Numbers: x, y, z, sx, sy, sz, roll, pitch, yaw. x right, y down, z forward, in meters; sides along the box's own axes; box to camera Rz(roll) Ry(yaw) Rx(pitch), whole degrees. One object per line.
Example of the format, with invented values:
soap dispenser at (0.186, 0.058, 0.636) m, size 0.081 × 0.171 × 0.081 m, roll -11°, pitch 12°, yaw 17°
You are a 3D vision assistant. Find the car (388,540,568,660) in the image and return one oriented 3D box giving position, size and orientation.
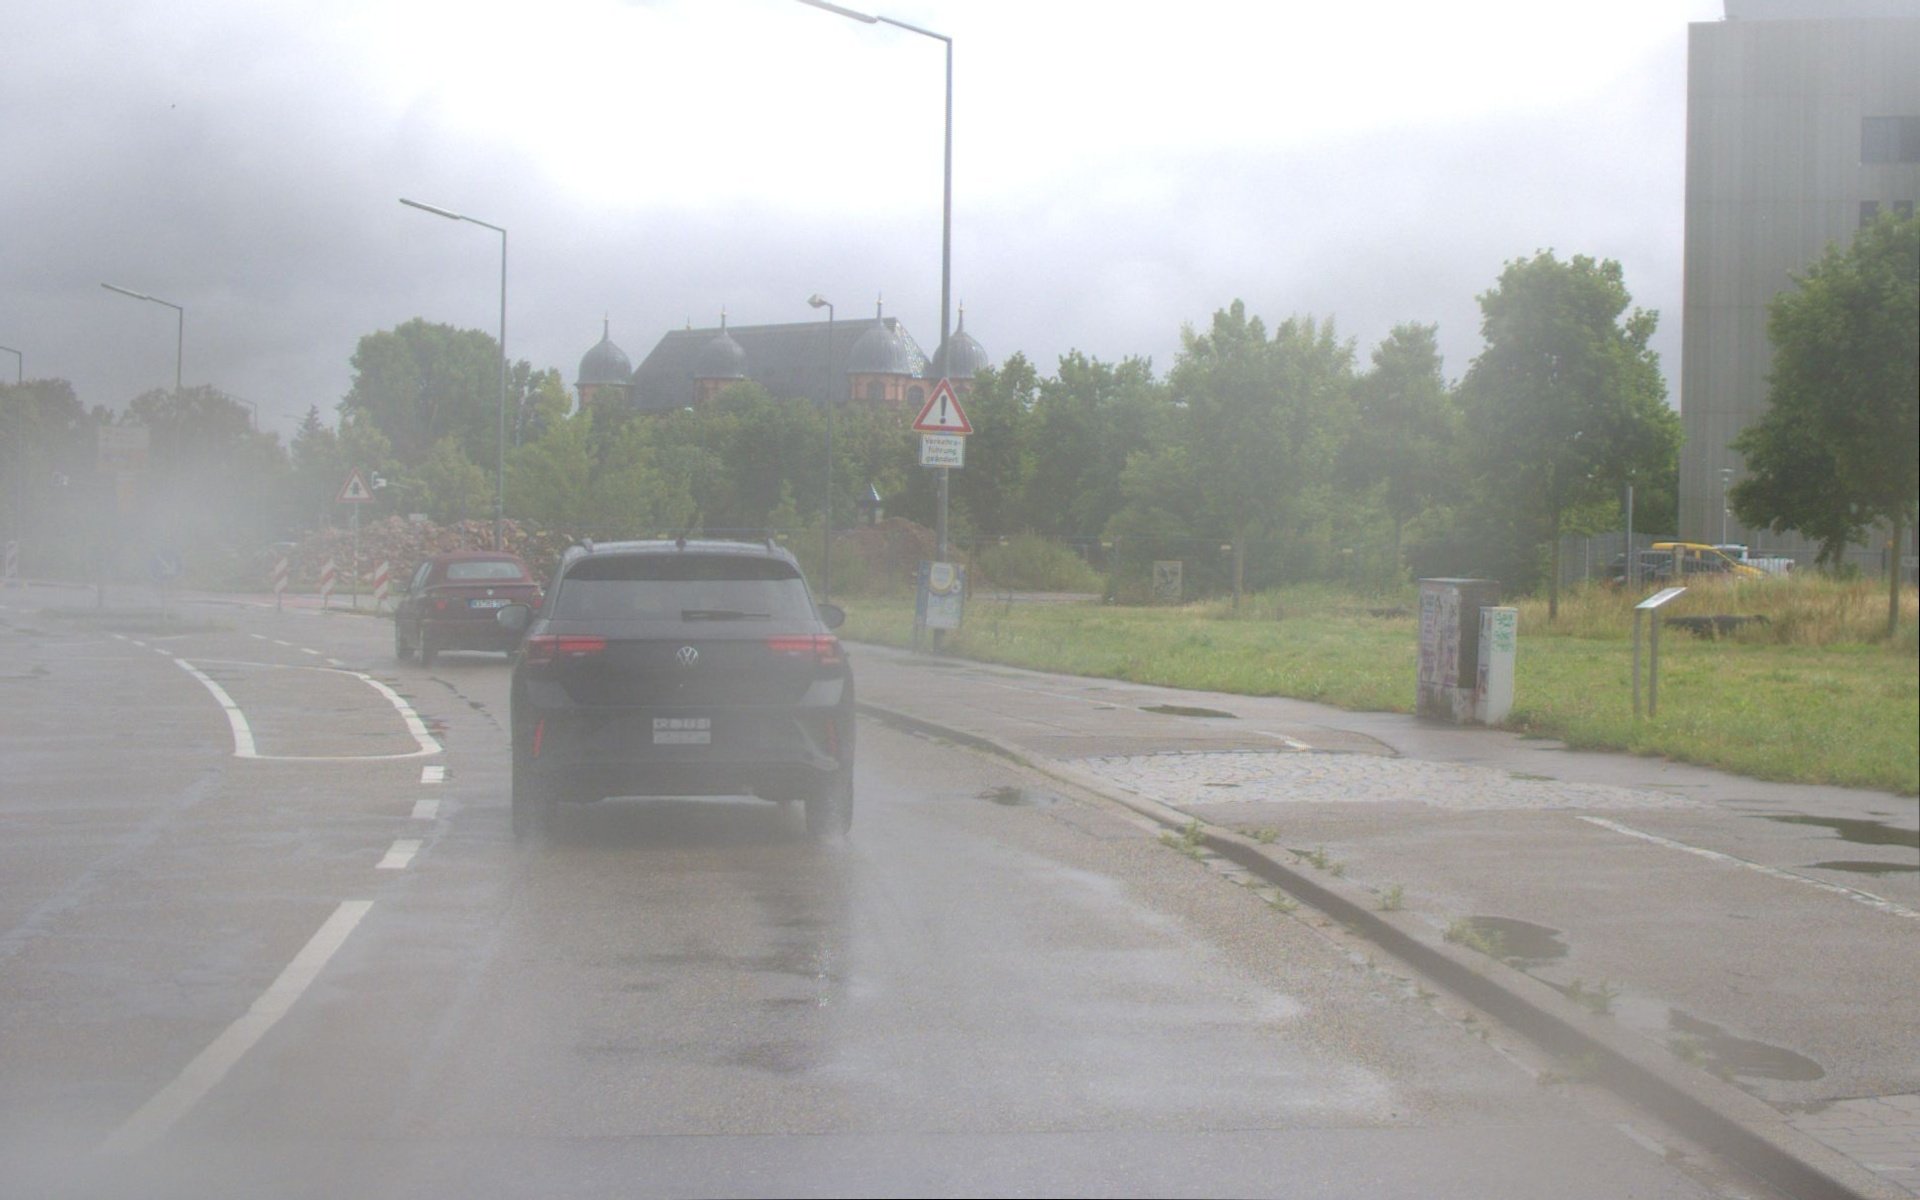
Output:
car at (-6.305, -0.019, 44.655) m, size 1.841 × 1.437 × 4.001 m, roll -2°, pitch 1°, yaw -15°

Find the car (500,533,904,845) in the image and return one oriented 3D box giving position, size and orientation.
car at (-1.532, 0.398, 19.016) m, size 1.986 × 1.515 × 4.001 m, roll -1°, pitch 1°, yaw -8°
